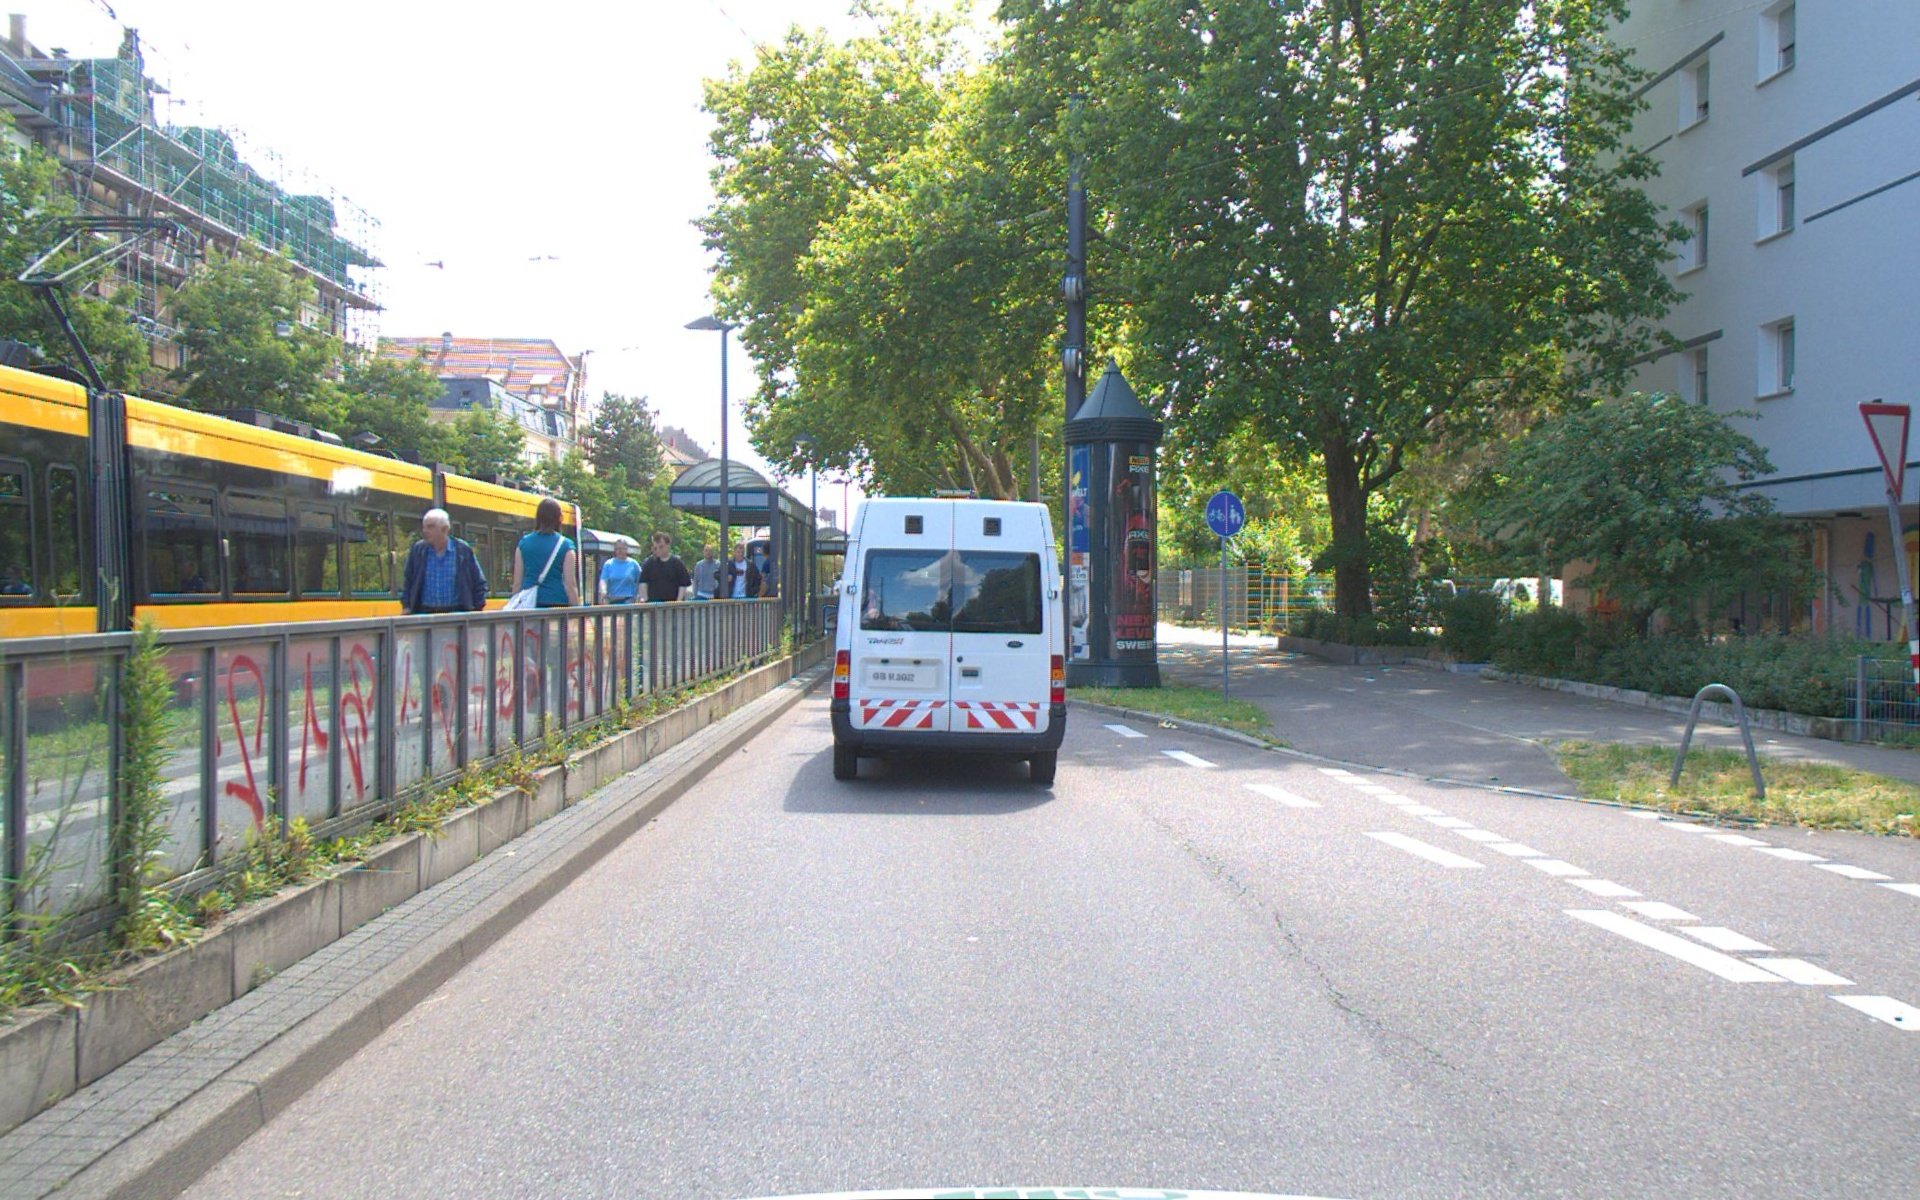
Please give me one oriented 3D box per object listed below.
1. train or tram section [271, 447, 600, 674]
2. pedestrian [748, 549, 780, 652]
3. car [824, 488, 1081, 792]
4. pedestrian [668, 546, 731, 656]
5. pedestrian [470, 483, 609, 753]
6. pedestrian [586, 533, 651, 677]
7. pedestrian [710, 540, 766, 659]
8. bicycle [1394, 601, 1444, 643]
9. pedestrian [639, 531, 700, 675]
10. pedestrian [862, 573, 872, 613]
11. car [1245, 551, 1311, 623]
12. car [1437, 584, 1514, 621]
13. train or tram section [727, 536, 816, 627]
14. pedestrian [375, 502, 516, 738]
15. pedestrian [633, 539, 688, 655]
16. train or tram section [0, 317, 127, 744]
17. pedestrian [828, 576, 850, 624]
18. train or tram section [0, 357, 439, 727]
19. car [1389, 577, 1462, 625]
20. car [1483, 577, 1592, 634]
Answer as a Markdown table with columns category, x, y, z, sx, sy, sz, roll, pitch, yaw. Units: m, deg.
| category | x | y | z | sx | sy | sz | roll | pitch | yaw |
| --- | --- | --- | --- | --- | --- | --- | --- | --- | --- |
| train or tram section | -9.900 | -0.678 | 33.267 | 2.668 | 3.647 | 13.013 | 1 | 0 | -1 |
| pedestrian | -3.731 | 0.012 | 31.494 | 0.464 | 1.933 | 0.533 | 0 | 0 | -26 |
| car | -0.097 | 0.288 | 15.290 | 2.005 | 2.374 | 4.713 | 0 | 1 | -1 |
| pedestrian | -4.435 | 0.009 | 28.239 | 0.868 | 1.832 | 1.494 | 0 | 0 | -2 |
| pedestrian | -3.109 | 0.131 | 12.292 | 0.810 | 1.932 | 0.846 | 0 | 0 | -1 |
| pedestrian | -4.545 | 0.062 | 22.062 | 0.687 | 1.881 | 0.907 | 0 | 0 | -2 |
| pedestrian | -3.620 | -0.019 | 27.037 | 0.794 | 1.905 | 1.030 | 0 | 0 | -2 |
| bicycle | 12.423 | 0.585 | 44.818 | 0.594 | 1.092 | 1.835 | 0 | 0 | -10 |
| pedestrian | -3.868 | 0.044 | 22.058 | 0.687 | 1.881 | 0.789 | 0 | 0 | -2 |
| pedestrian | -3.818 | -0.279 | 67.916 | 0.377 | 1.619 | 0.438 | 0 | 0 | -2 |
| car | 12.933 | -0.523 | 67.472 | 1.770 | 2.823 | 4.277 | 0 | 0 | -1 |
| car | 20.641 | 0.086 | 66.399 | 1.770 | 1.427 | 4.046 | 0 | 0 | -1 |
| train or tram section | -8.152 | -0.803 | 73.194 | 2.668 | 3.647 | 13.013 | 1 | 0 | -1 |
| pedestrian | -4.072 | 0.155 | 13.148 | 0.840 | 1.806 | 0.876 | 0 | 0 | -1 |
| pedestrian | -4.824 | -0.048 | 26.671 | 0.697 | 1.832 | 1.132 | 0 | 0 | -2 |
| train or tram section | -9.500 | -0.578 | 9.806 | 2.750 | 3.647 | 13.013 | 1 | 0 | -1 |
| pedestrian | -3.883 | -0.003 | 53.072 | 0.662 | 1.542 | 0.596 | 0 | 0 | -2 |
| train or tram section | -9.728 | -0.613 | 21.552 | 2.739 | 3.647 | 10.401 | 1 | 0 | -1 |
| car | 18.610 | 0.022 | 66.289 | 1.770 | 1.846 | 4.339 | 0 | 0 | 1 |
| car | 18.998 | 0.167 | 54.610 | 1.702 | 1.786 | 4.769 | 0 | 0 | -3 |
